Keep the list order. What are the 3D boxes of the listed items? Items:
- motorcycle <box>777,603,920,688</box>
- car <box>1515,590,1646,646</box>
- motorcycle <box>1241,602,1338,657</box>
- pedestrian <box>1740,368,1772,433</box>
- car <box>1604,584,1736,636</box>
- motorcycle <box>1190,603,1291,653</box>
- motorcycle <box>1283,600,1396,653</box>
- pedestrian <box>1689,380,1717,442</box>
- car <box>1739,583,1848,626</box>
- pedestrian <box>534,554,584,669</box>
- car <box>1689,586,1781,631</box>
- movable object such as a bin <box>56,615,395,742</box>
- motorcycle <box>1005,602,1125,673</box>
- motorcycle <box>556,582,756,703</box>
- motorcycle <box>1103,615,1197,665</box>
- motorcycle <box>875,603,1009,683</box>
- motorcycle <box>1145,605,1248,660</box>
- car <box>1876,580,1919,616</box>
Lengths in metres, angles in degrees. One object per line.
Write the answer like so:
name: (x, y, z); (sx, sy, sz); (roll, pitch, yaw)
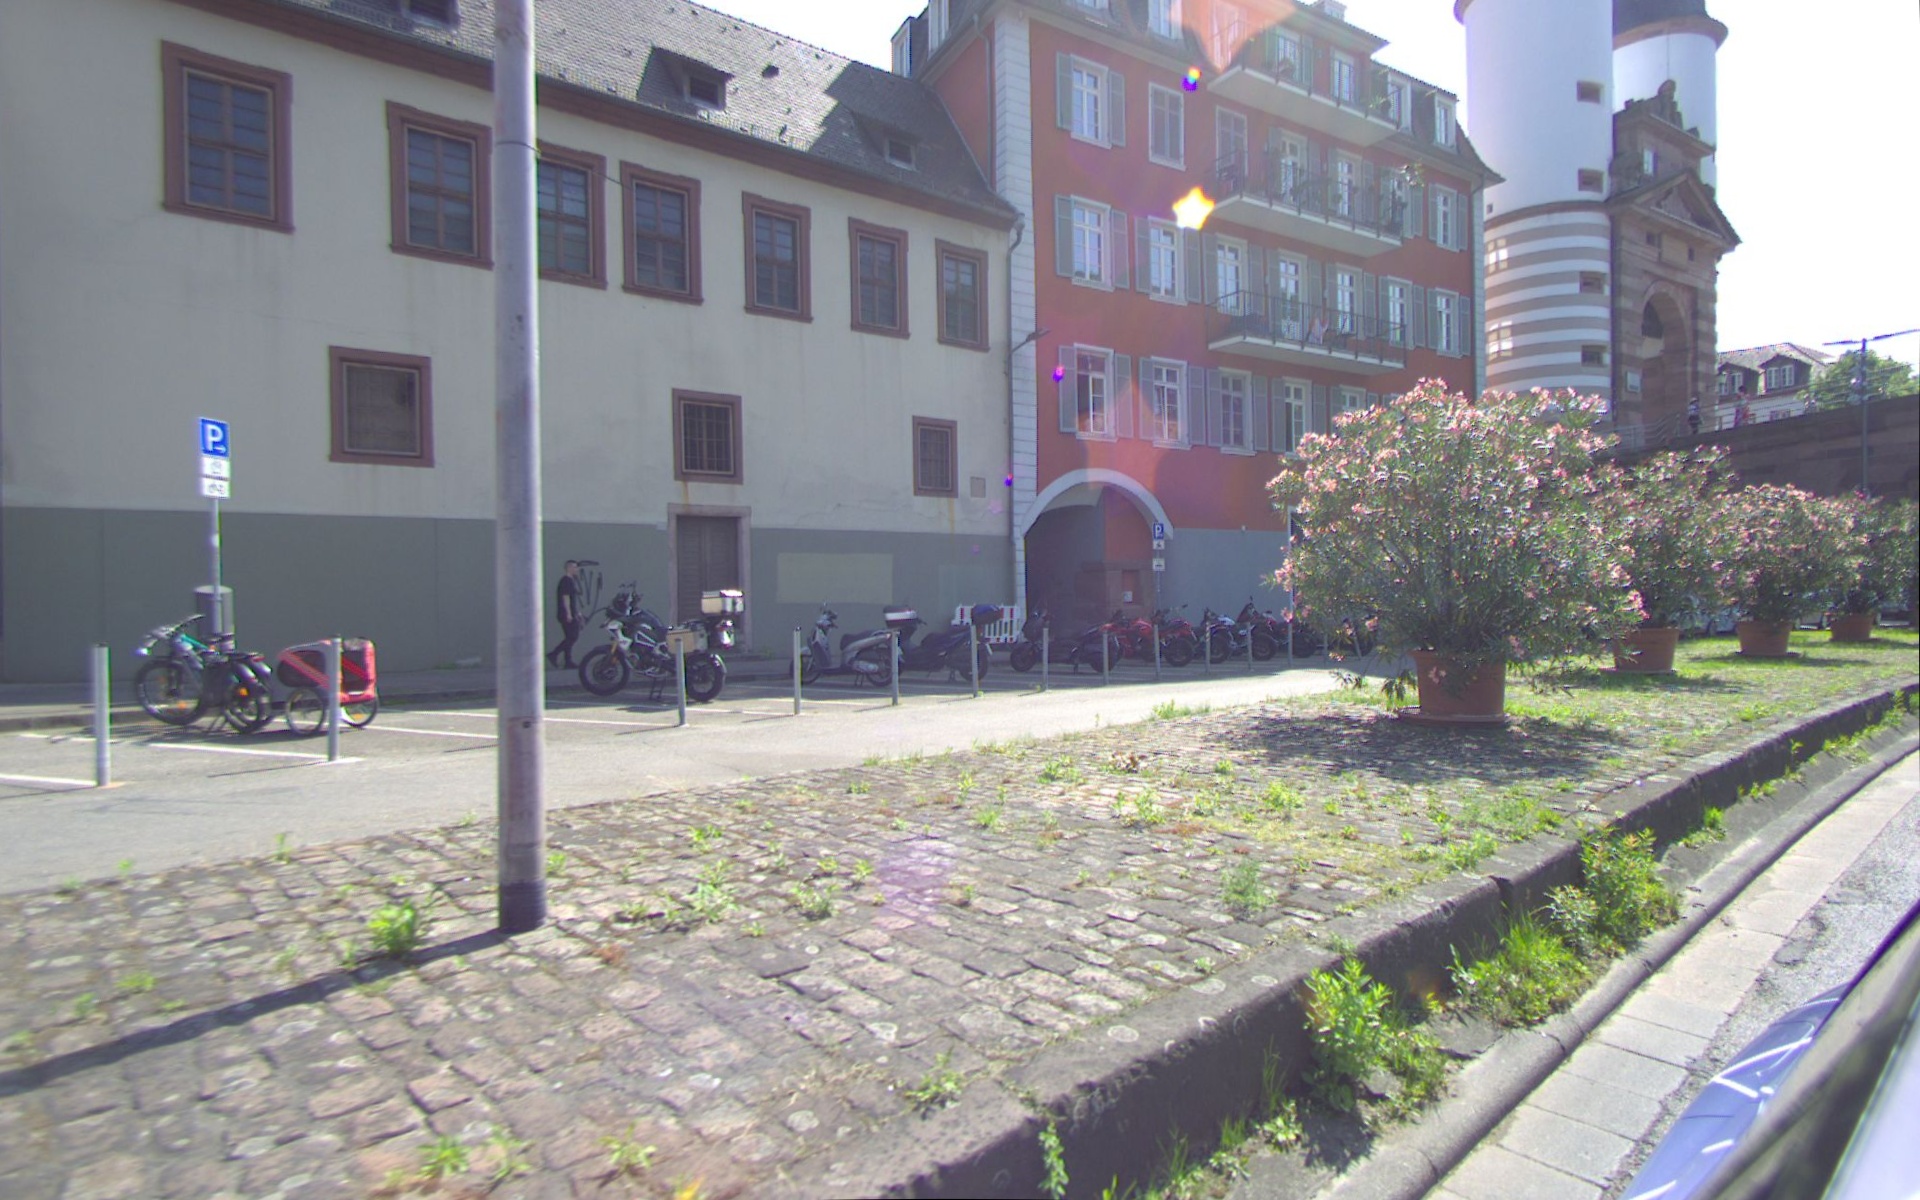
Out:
motorcycle: (-1.768, 0.687, 15.987); (2.207, 1.268, 0.624); (0, 0, 19)
car: (18.814, 0.511, 30.678); (3.733, 1.562, 1.679); (-1, 0, -27)
motorcycle: (7.794, 0.688, 24.062); (2.121, 1.249, 0.839); (0, 0, 14)
pedestrian: (26.704, -6.670, 33.949); (0.693, 2.038, 0.641); (-2, 1, -33)
car: (23.053, 0.275, 32.840); (4.329, 1.511, 1.901); (-1, 2, -31)
motorcycle: (6.353, 0.628, 23.048); (2.163, 1.090, 0.626); (0, 0, 11)
motorcycle: (9.329, 0.628, 24.979); (2.505, 1.249, 0.839); (0, 0, 14)
pedestrian: (26.036, -6.598, 35.480); (0.693, 2.038, 0.581); (-2, 1, -33)
car: (31.196, 0.144, 37.835); (4.404, 1.454, 1.783); (-2, 1, -31)
pedestrian: (-6.597, 0.180, 16.649); (0.608, 1.845, 0.495); (-2, 2, -39)
car: (26.914, 0.250, 35.112); (3.501, 1.437, 1.559); (-1, 1, -35)
movable object such as a bin: (-7.492, 0.746, 10.385); (2.912, 1.124, 1.253); (0, 0, 14)
motorcycle: (1.986, 0.685, 19.166); (2.155, 1.283, 0.778); (0, 0, 19)
motorcycle: (-4.141, 0.530, 13.813); (2.463, 1.552, 1.048); (0, 0, 17)
motorcycle: (3.957, 0.826, 21.163); (1.901, 0.999, 0.546); (0, 0, 11)
motorcycle: (-0.305, 0.694, 16.959); (2.169, 1.283, 0.624); (0, 0, 19)
motorcycle: (5.173, 0.692, 22.221); (2.163, 1.162, 0.626); (0, 0, 11)
car: (41.071, -0.100, 43.024); (3.802, 1.428, 1.727); (-1, 2, -23)
